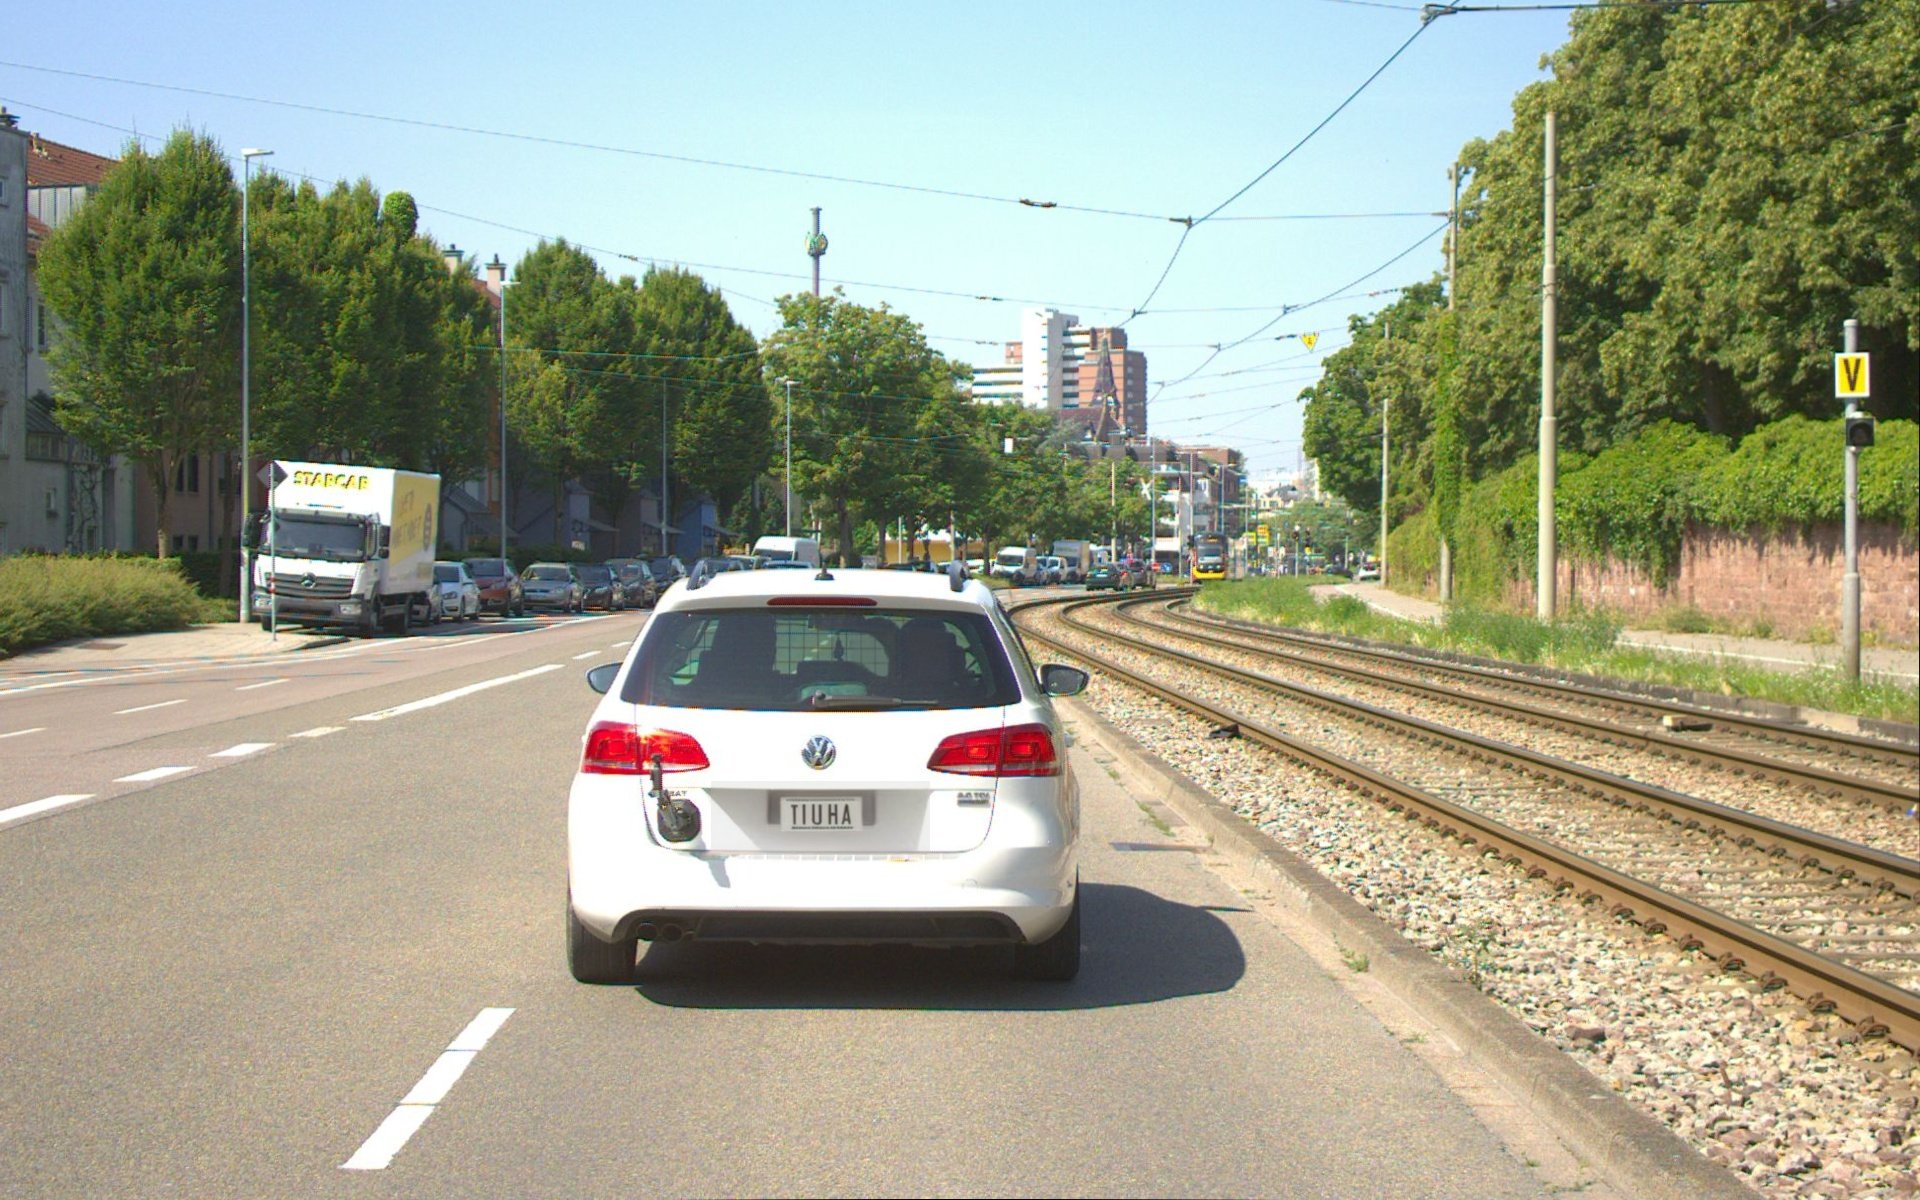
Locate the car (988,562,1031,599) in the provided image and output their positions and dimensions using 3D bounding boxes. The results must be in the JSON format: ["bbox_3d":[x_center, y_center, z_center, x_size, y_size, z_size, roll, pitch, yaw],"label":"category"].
[{"bbox_3d":[3.212,-1.273,222.803,1.881,2.407,5.113,0,0,11],"label":"car"}]

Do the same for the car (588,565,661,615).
[{"bbox_3d":[-11.318,-0.349,116.118,1.717,1.619,4.312,2,1,4],"label":"car"}]

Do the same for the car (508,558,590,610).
[{"bbox_3d":[-12.350,-0.475,103.638,1.780,1.478,4.857,2,0,1],"label":"car"}]

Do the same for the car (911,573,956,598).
[{"bbox_3d":[-1.448,-0.788,188.882,1.700,1.347,3.998,0,0,11],"label":"car"}]

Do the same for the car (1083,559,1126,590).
[{"bbox_3d":[7.268,-1.269,172.657,1.801,1.502,3.999,1,1,7],"label":"car"}]

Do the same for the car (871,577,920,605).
[{"bbox_3d":[-3.298,-0.472,175.991,1.700,1.412,3.998,0,0,11],"label":"car"}]

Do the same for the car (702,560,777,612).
[{"bbox_3d":[-8.810,-0.569,137.809,1.920,1.942,5.352,3,1,8],"label":"car"}]

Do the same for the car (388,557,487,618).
[{"bbox_3d":[-12.888,-0.314,85.024,1.757,1.424,4.282,2,1,0],"label":"car"}]

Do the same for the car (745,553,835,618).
[{"bbox_3d":[-4.176,-0.378,84.910,1.801,1.502,4.000,1,1,3],"label":"car"}]

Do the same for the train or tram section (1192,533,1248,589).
[{"bbox_3d":[18.041,-2.676,238.026,2.512,3.734,13.305,0,0,10],"label":"train or tram section"}]

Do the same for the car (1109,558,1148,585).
[{"bbox_3d":[9.123,-1.524,186.291,1.801,1.455,3.999,0,0,7],"label":"car"}]

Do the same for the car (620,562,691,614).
[{"bbox_3d":[-10.756,-0.434,121.632,1.769,1.717,4.869,2,0,3],"label":"car"}]

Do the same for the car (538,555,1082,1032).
[{"bbox_3d":[-0.539,0.586,13.108,1.691,1.446,4.459,1,1,-2],"label":"car"}]

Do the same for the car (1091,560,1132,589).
[{"bbox_3d":[7.898,-1.318,178.969,1.801,1.455,3.999,1,1,7],"label":"car"}]

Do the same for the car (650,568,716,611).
[{"bbox_3d":[-10.233,-0.388,127.090,1.690,1.469,4.047,3,1,5],"label":"car"}]

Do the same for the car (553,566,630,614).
[{"bbox_3d":[-11.789,-0.329,110.154,1.723,1.469,4.714,2,0,2],"label":"car"}]

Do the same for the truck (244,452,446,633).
[{"bbox_3d":[-12.865,-1.190,72.619,2.667,3.518,8.591,2,1,0],"label":"truck"}]

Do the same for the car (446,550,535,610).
[{"bbox_3d":[-12.647,-0.539,92.852,1.731,1.546,4.318,1,1,1],"label":"car"}]
